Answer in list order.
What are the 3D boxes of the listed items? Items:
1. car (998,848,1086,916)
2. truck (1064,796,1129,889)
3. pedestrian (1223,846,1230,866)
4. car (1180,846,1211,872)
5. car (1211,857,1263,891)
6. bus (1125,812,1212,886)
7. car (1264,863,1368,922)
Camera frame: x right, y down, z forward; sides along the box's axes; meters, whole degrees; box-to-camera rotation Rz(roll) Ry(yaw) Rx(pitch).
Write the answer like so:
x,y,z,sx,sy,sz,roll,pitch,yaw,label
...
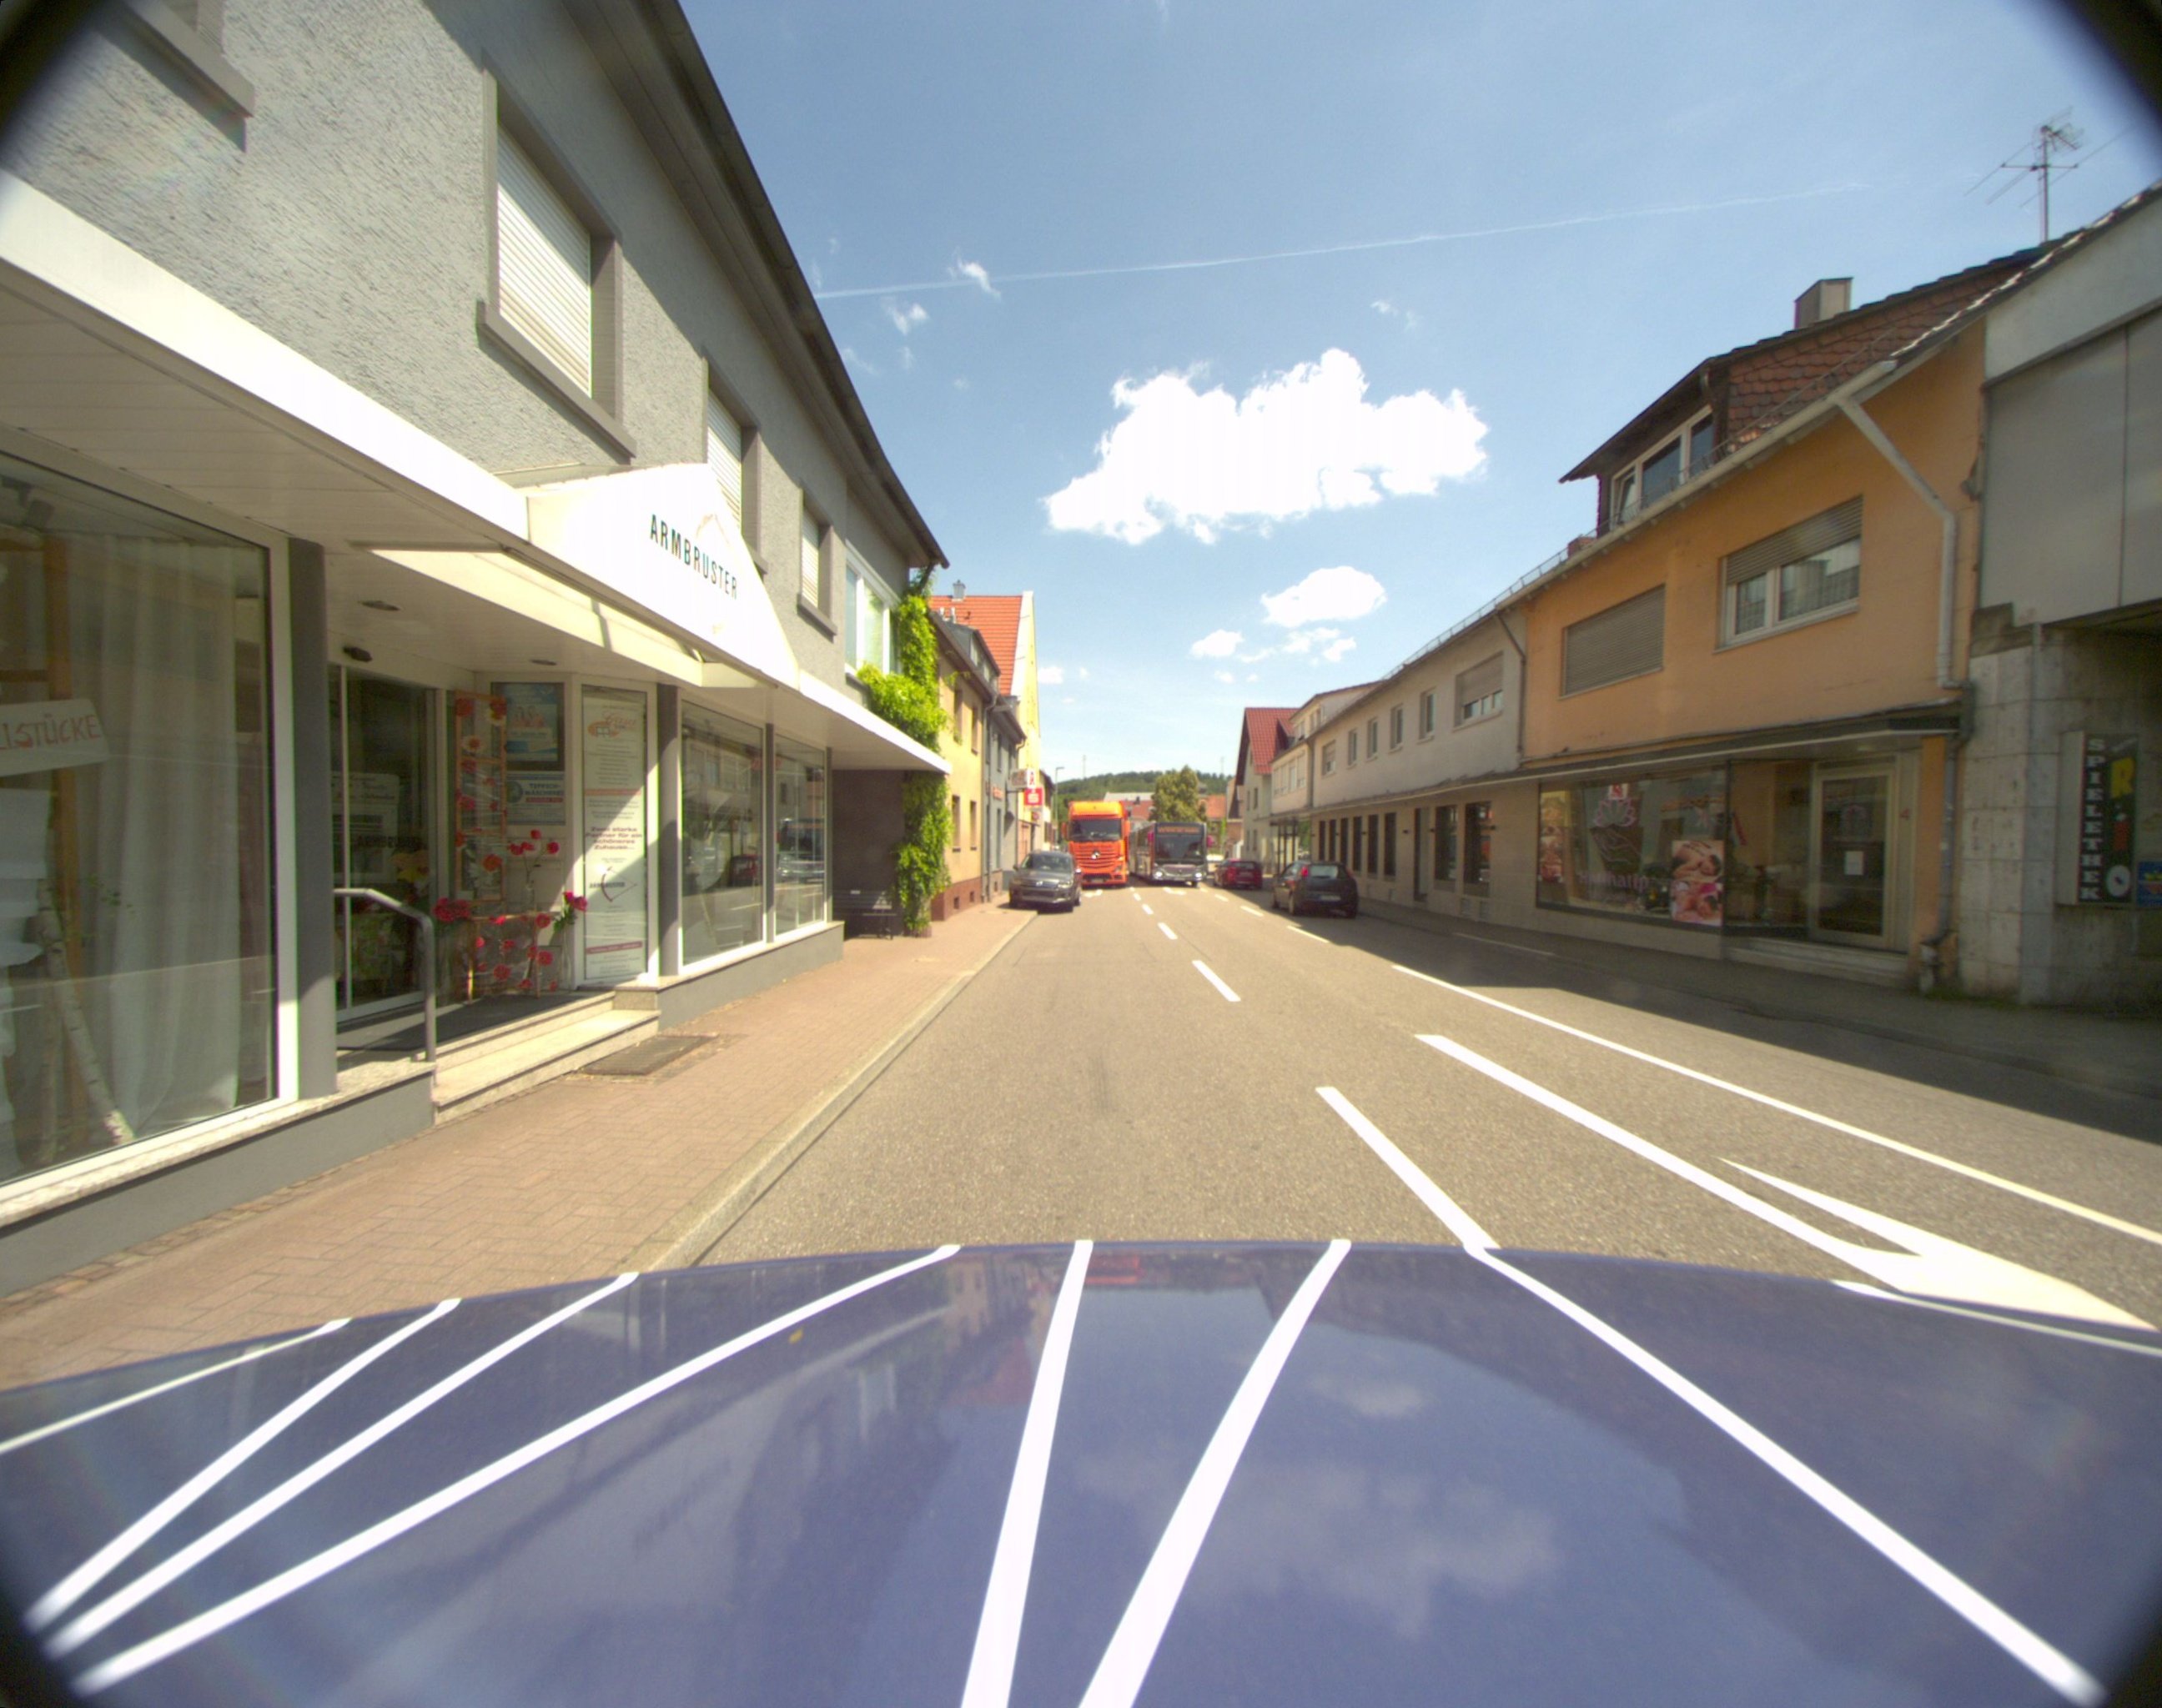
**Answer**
x,y,z,sx,sy,sz,roll,pitch,yaw,label
-1.026,0.722,22.248,1.998,1.699,4.102,2,1,5,car
0.961,-0.465,37.665,2.614,3.922,9.995,-2,0,4,truck
13.140,0.163,68.566,0.471,1.754,0.478,0,2,-19,pedestrian
7.912,0.359,52.830,1.683,1.607,3.822,4,0,3,car
7.253,0.884,35.665,1.721,1.400,4.285,3,0,3,car
4.397,-0.229,42.869,2.859,3.186,19.032,-1,0,1,bus
6.357,0.986,20.978,1.721,1.414,3.821,2,0,1,car
